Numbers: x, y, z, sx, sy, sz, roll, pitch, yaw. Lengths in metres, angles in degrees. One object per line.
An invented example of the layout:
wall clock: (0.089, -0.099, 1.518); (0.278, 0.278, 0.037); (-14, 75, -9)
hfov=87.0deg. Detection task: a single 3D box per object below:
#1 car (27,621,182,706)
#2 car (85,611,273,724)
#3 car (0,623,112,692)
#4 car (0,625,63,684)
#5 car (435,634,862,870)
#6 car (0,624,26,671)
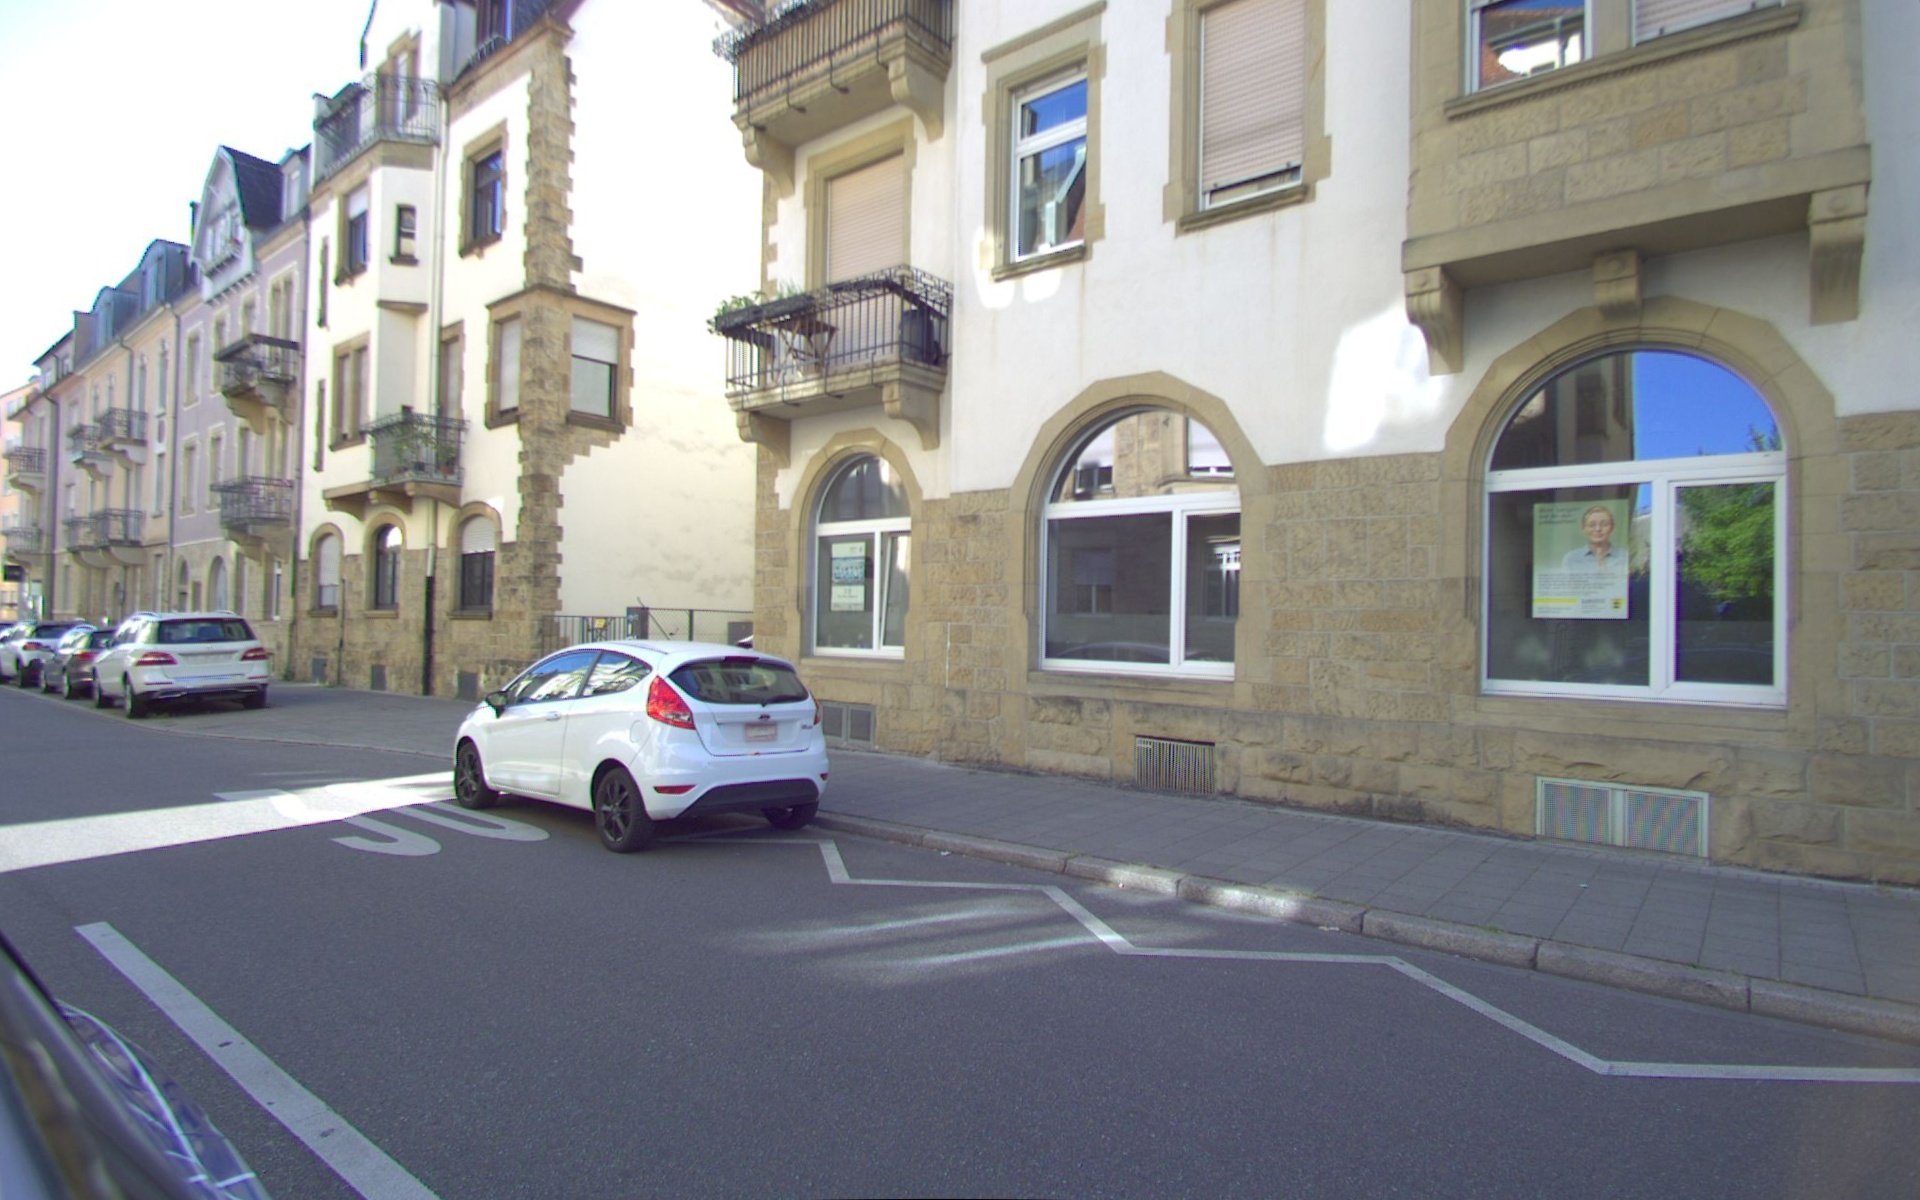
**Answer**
car: (-18.447, 1.280, 21.756); (4.319, 1.519, 1.866); (-1, 2, 41)
car: (-13.950, 1.090, 17.997); (4.209, 1.740, 1.866); (-1, 0, 41)
car: (-22.951, 1.372, 25.437); (4.319, 1.520, 1.866); (-1, 0, 41)
car: (-27.159, 1.505, 28.877); (4.317, 1.511, 1.833); (-1, 0, 41)
car: (-2.640, 1.038, 8.183); (3.642, 1.469, 1.634); (-2, -5, 42)
car: (-33.143, 1.594, 34.225); (4.319, 1.520, 1.866); (-1, 0, 41)
